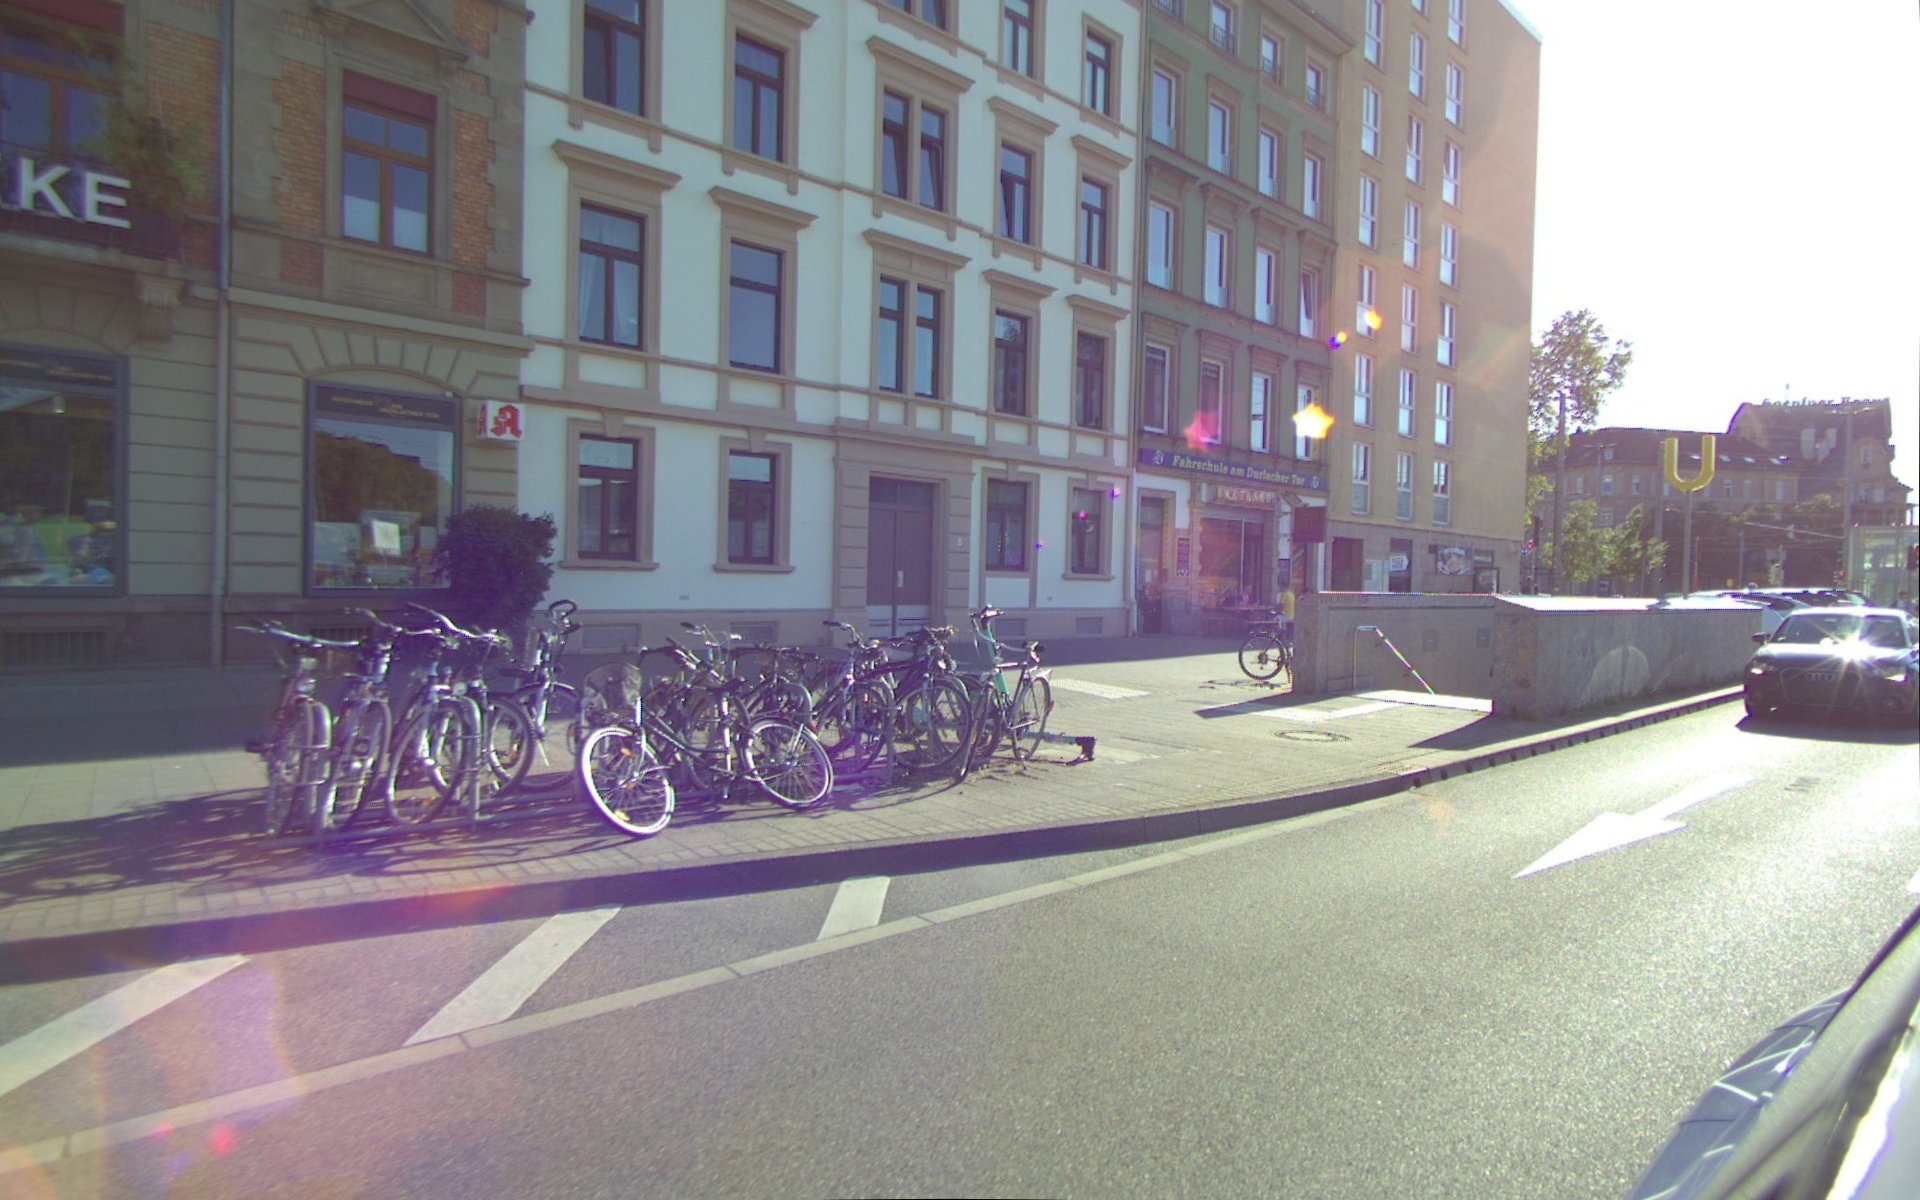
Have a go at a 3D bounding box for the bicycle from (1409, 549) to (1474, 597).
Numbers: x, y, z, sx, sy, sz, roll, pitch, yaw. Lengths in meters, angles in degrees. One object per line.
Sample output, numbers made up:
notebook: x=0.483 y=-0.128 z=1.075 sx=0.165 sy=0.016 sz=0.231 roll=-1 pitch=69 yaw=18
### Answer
bicycle: x=15.450 y=-0.867 z=32.464 sx=2.187 sy=1.374 sz=0.933 roll=4 pitch=0 yaw=-37

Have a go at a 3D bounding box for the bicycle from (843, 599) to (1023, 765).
bicycle: x=-0.272 y=0.615 z=8.384 sx=0.462 sy=1.193 sz=1.768 roll=1 pitch=0 yaw=-40

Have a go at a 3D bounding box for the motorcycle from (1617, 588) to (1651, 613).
motorcycle: x=31.051 y=0.022 z=46.593 sx=1.774 sy=1.059 sz=0.879 roll=-2 pitch=4 yaw=-43

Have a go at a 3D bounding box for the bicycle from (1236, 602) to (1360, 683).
bicycle: x=5.251 y=0.638 z=15.772 sx=1.750 sy=1.103 sz=0.467 roll=4 pitch=1 yaw=22

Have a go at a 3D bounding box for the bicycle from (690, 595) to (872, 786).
bicycle: x=-1.355 y=0.587 z=7.382 sx=0.462 sy=1.202 sz=1.768 roll=1 pitch=0 yaw=-40

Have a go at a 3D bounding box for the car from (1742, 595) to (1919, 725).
car: x=11.867 y=0.677 z=13.329 sx=3.764 sy=1.405 sz=1.694 roll=-1 pitch=1 yaw=-40

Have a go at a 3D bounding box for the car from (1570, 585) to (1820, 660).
car: x=16.366 y=0.463 z=22.753 sx=4.044 sy=1.482 sz=1.957 roll=1 pitch=1 yaw=9

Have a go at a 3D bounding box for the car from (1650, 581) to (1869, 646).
car: x=21.381 y=0.332 z=27.237 sx=4.178 sy=1.618 sz=1.957 roll=1 pitch=0 yaw=7

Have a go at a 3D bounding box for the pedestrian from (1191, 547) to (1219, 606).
pedestrian: x=7.307 y=-0.695 z=30.137 sx=0.580 sy=1.733 sz=0.517 roll=1 pitch=1 yaw=-28

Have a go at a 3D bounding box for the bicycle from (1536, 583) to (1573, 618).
bicycle: x=22.278 y=-0.004 z=37.890 sx=1.869 sy=1.264 sz=0.658 roll=0 pitch=3 yaw=-44

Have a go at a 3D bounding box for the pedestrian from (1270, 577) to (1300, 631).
pedestrian: x=8.244 y=0.095 z=25.657 sx=0.515 sy=1.335 sz=0.583 roll=2 pitch=1 yaw=42

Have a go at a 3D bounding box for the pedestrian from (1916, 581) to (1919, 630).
pedestrian: x=34.949 y=0.209 z=36.177 sx=0.784 sy=1.749 sz=0.865 roll=2 pitch=1 yaw=18

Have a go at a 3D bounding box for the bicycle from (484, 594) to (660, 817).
bicycle: x=-2.509 y=0.581 z=6.420 sx=0.462 sy=1.202 sz=1.768 roll=1 pitch=0 yaw=-40

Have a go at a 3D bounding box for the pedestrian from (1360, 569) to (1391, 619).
pedestrian: x=11.341 y=-0.176 z=27.603 sx=0.580 sy=1.335 sz=0.517 roll=0 pitch=1 yaw=-34

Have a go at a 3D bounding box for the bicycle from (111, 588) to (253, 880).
bicycle: x=-3.951 y=0.558 z=5.091 sx=0.462 sy=1.202 sz=1.768 roll=1 pitch=0 yaw=-40

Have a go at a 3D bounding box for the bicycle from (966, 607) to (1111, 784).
bicycle: x=0.648 y=0.646 z=7.677 sx=0.465 sy=1.161 sz=1.754 roll=1 pitch=0 yaw=26

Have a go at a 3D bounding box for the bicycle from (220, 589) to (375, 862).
bicycle: x=-3.573 y=0.562 z=5.397 sx=0.462 sy=1.202 sz=1.768 roll=1 pitch=0 yaw=-40

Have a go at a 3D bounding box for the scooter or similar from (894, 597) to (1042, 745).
scooter or similar: x=0.076 y=0.606 z=9.149 sx=1.195 sy=1.231 sz=0.637 roll=1 pitch=1 yaw=23

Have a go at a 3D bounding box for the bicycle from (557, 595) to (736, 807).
bicycle: x=-2.136 y=0.591 z=6.744 sx=0.462 sy=1.202 sz=1.768 roll=1 pitch=0 yaw=-40

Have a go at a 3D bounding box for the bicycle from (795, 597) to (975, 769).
bicycle: x=-0.646 y=0.593 z=8.063 sx=0.462 sy=1.193 sz=1.768 roll=1 pitch=0 yaw=-40

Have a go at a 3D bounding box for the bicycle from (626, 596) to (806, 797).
bicycle: x=-1.754 y=0.597 z=7.083 sx=0.462 sy=1.202 sz=1.768 roll=1 pitch=0 yaw=-40

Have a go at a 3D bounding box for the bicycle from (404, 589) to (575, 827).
bicycle: x=-2.872 y=0.557 z=6.080 sx=0.462 sy=1.202 sz=1.768 roll=1 pitch=0 yaw=-40

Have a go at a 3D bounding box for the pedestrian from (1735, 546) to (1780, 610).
pedestrian: x=24.065 y=-0.665 z=30.550 sx=0.740 sy=1.889 sz=0.696 roll=1 pitch=1 yaw=8

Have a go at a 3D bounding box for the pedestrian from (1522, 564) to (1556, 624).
pedestrian: x=18.793 y=-0.209 z=32.856 sx=0.744 sy=1.889 sz=0.826 roll=2 pitch=1 yaw=20

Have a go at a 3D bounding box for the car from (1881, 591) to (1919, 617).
car: x=67.067 y=0.267 z=70.351 sx=1.959 sy=1.626 sz=4.008 roll=-5 pitch=2 yaw=-21

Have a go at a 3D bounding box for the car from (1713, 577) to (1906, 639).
car: x=26.475 y=0.236 z=31.679 sx=4.181 sy=1.837 sz=1.956 roll=1 pitch=0 yaw=9

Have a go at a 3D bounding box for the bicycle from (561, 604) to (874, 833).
bicycle: x=-1.361 y=0.619 z=5.926 sx=1.739 sy=1.161 sz=0.469 roll=1 pitch=0 yaw=-41

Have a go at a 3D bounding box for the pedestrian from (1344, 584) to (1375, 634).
pedestrian: x=10.750 y=0.234 z=27.213 sx=0.580 sy=1.335 sz=0.517 roll=0 pitch=1 yaw=-34

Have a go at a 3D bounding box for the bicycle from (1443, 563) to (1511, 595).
bicycle: x=20.851 y=-0.846 z=40.811 sx=2.478 sy=1.137 sz=1.036 roll=4 pitch=0 yaw=-23

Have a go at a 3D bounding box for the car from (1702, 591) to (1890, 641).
car: x=24.264 y=0.450 z=29.495 sx=3.825 sy=1.417 sz=1.786 roll=0 pitch=0 yaw=6

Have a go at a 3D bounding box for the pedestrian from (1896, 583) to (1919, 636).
pedestrian: x=32.300 y=0.316 z=34.280 sx=0.693 sy=1.749 sz=0.744 roll=2 pitch=1 yaw=33

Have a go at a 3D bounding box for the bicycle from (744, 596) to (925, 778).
bicycle: x=-1.007 y=0.592 z=7.732 sx=0.462 sy=1.202 sz=1.768 roll=1 pitch=0 yaw=-40

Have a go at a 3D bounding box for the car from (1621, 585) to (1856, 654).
car: x=19.131 y=0.449 z=25.056 sx=4.177 sy=1.590 sz=1.957 roll=1 pitch=0 yaw=6

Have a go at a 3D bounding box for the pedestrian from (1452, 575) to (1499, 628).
pedestrian: x=20.772 y=0.064 z=40.799 sx=1.244 sy=2.039 sz=1.036 roll=4 pitch=0 yaw=-23

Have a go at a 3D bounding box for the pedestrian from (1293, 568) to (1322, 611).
pedestrian: x=9.707 y=-0.292 z=28.278 sx=0.580 sy=1.174 sz=0.517 roll=0 pitch=1 yaw=-34

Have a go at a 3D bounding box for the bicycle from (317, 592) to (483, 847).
bicycle: x=-3.225 y=0.579 z=5.750 sx=0.462 sy=1.202 sz=1.795 roll=1 pitch=0 yaw=-40
